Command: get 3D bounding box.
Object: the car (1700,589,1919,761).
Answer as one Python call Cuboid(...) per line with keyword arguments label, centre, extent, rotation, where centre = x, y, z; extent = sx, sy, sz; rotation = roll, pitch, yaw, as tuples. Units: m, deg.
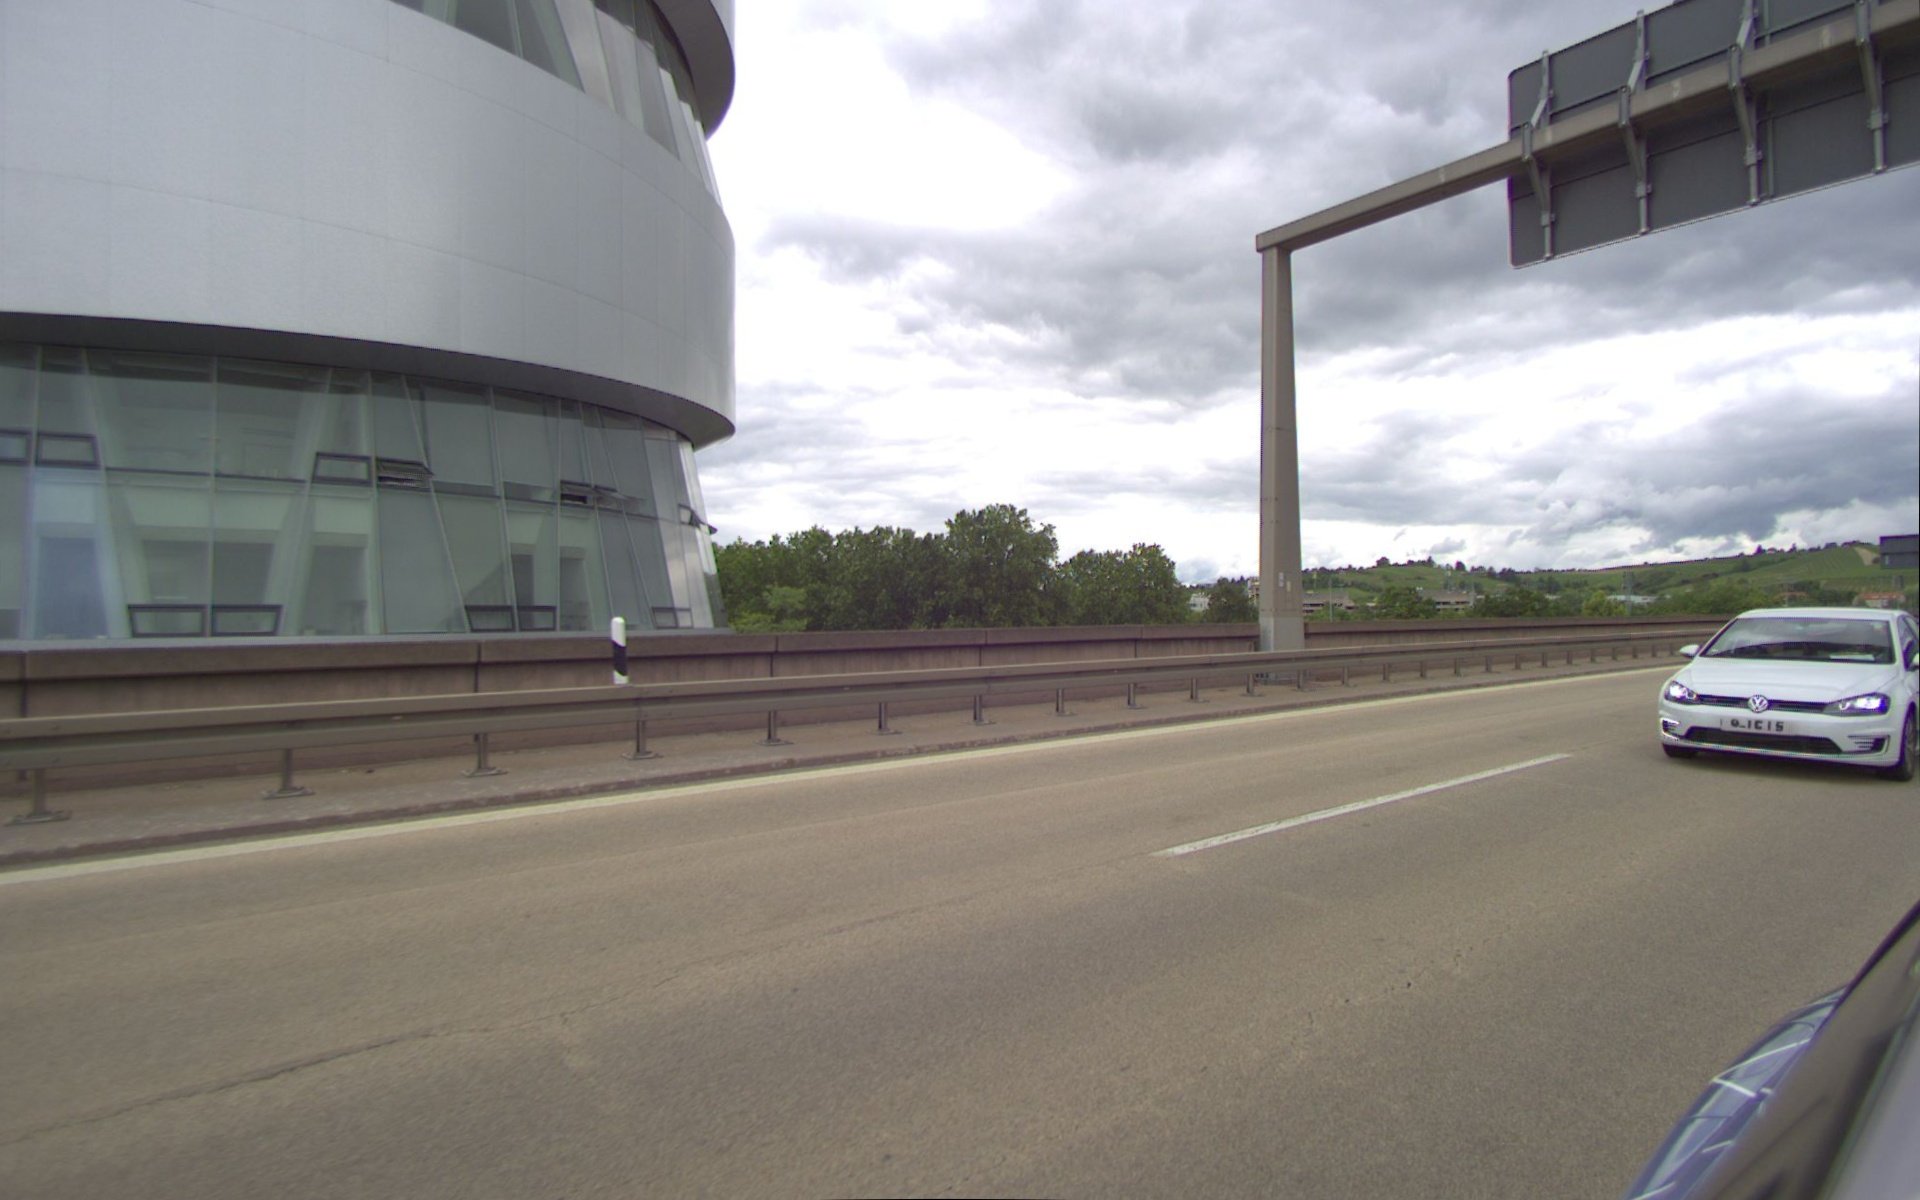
Cuboid(label="car", centre=(9.730, 0.656, 10.948), extent=(3.990, 1.527, 1.929), rotation=(-1, 1, -41))
